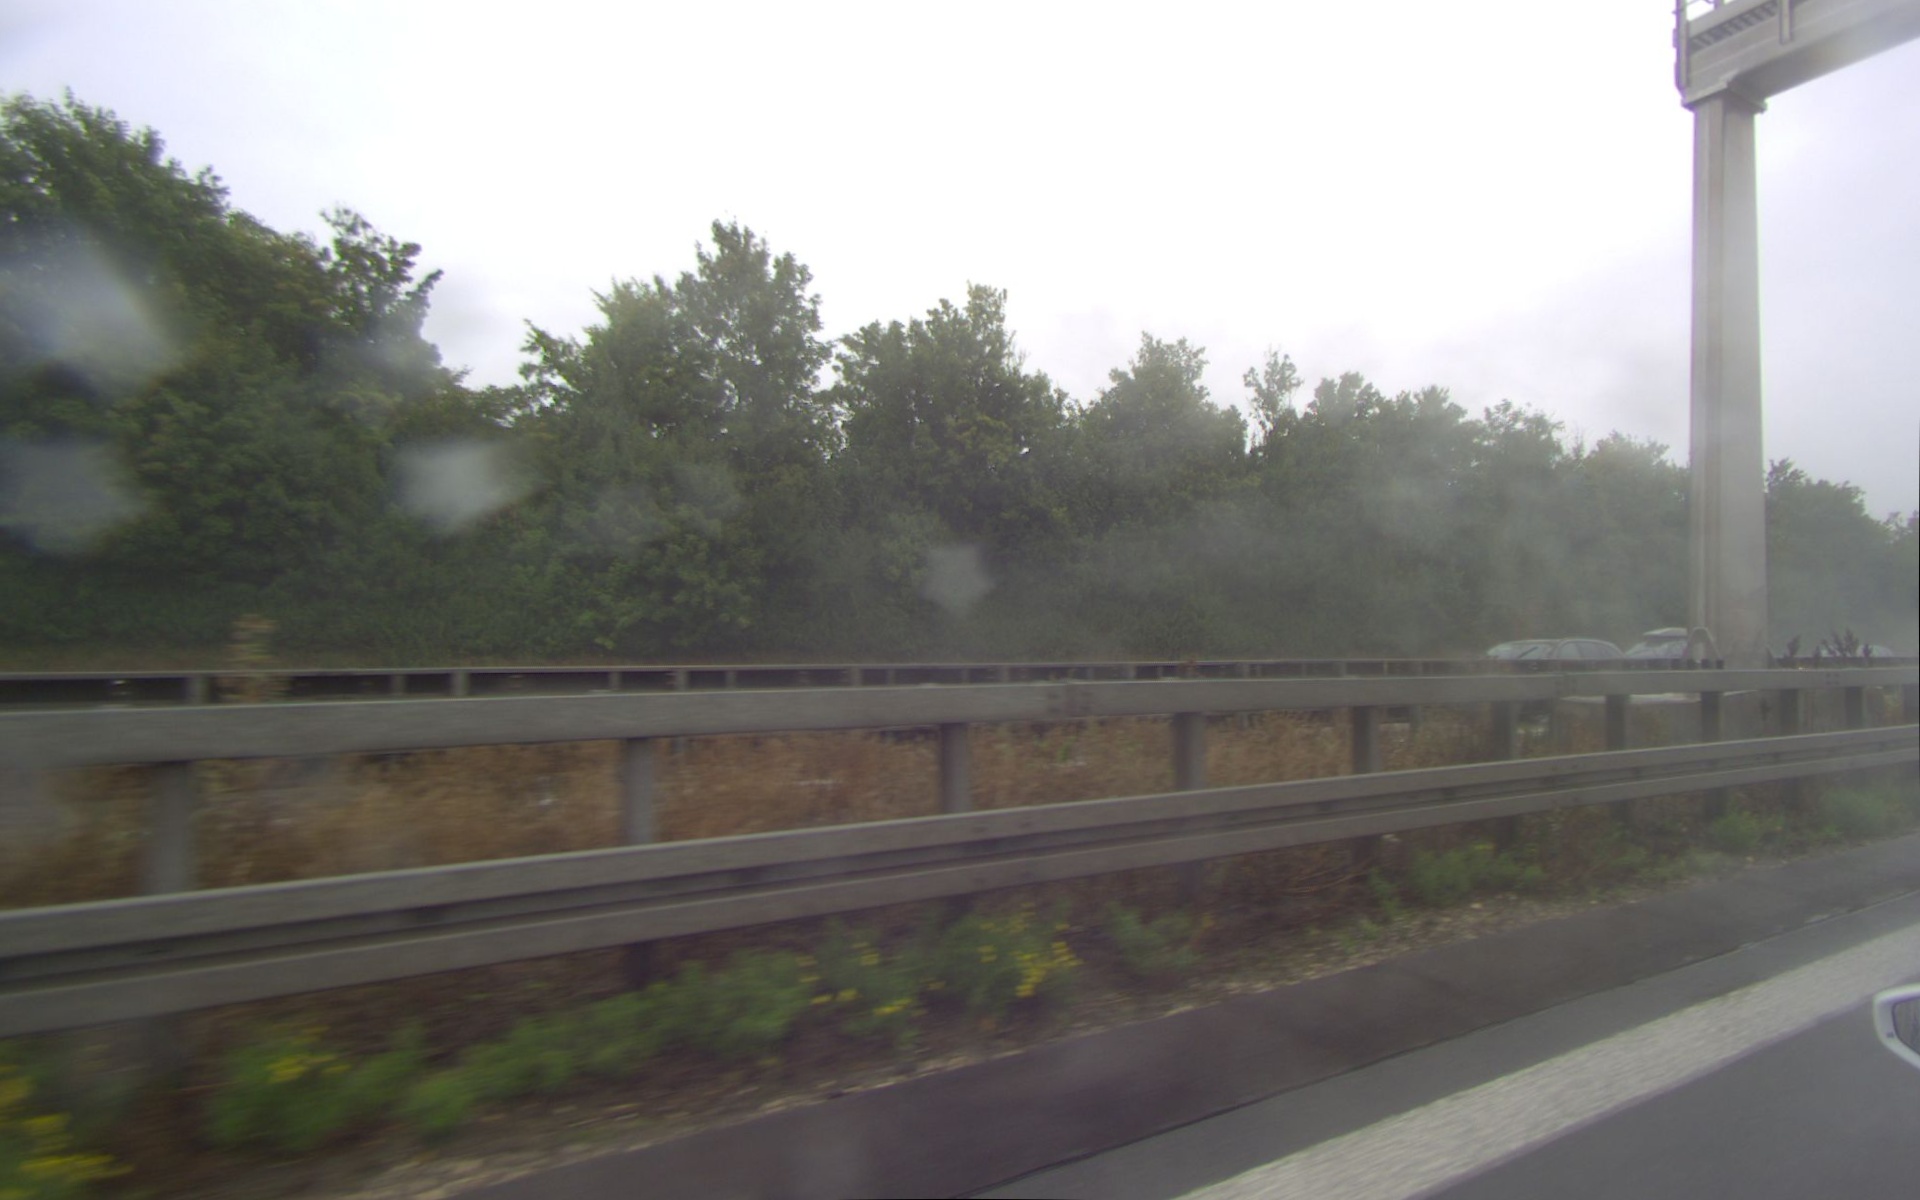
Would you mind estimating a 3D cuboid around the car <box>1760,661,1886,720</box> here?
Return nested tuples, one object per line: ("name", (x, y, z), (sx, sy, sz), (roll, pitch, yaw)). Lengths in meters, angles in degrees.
("car", (30.218, 3.102, 35.131), (4.727, 1.684, 1.983), (0, 1, -31))

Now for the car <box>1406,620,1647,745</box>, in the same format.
("car", (10.828, 1.444, 19.102), (4.970, 2.041, 1.790), (0, 1, -31))
